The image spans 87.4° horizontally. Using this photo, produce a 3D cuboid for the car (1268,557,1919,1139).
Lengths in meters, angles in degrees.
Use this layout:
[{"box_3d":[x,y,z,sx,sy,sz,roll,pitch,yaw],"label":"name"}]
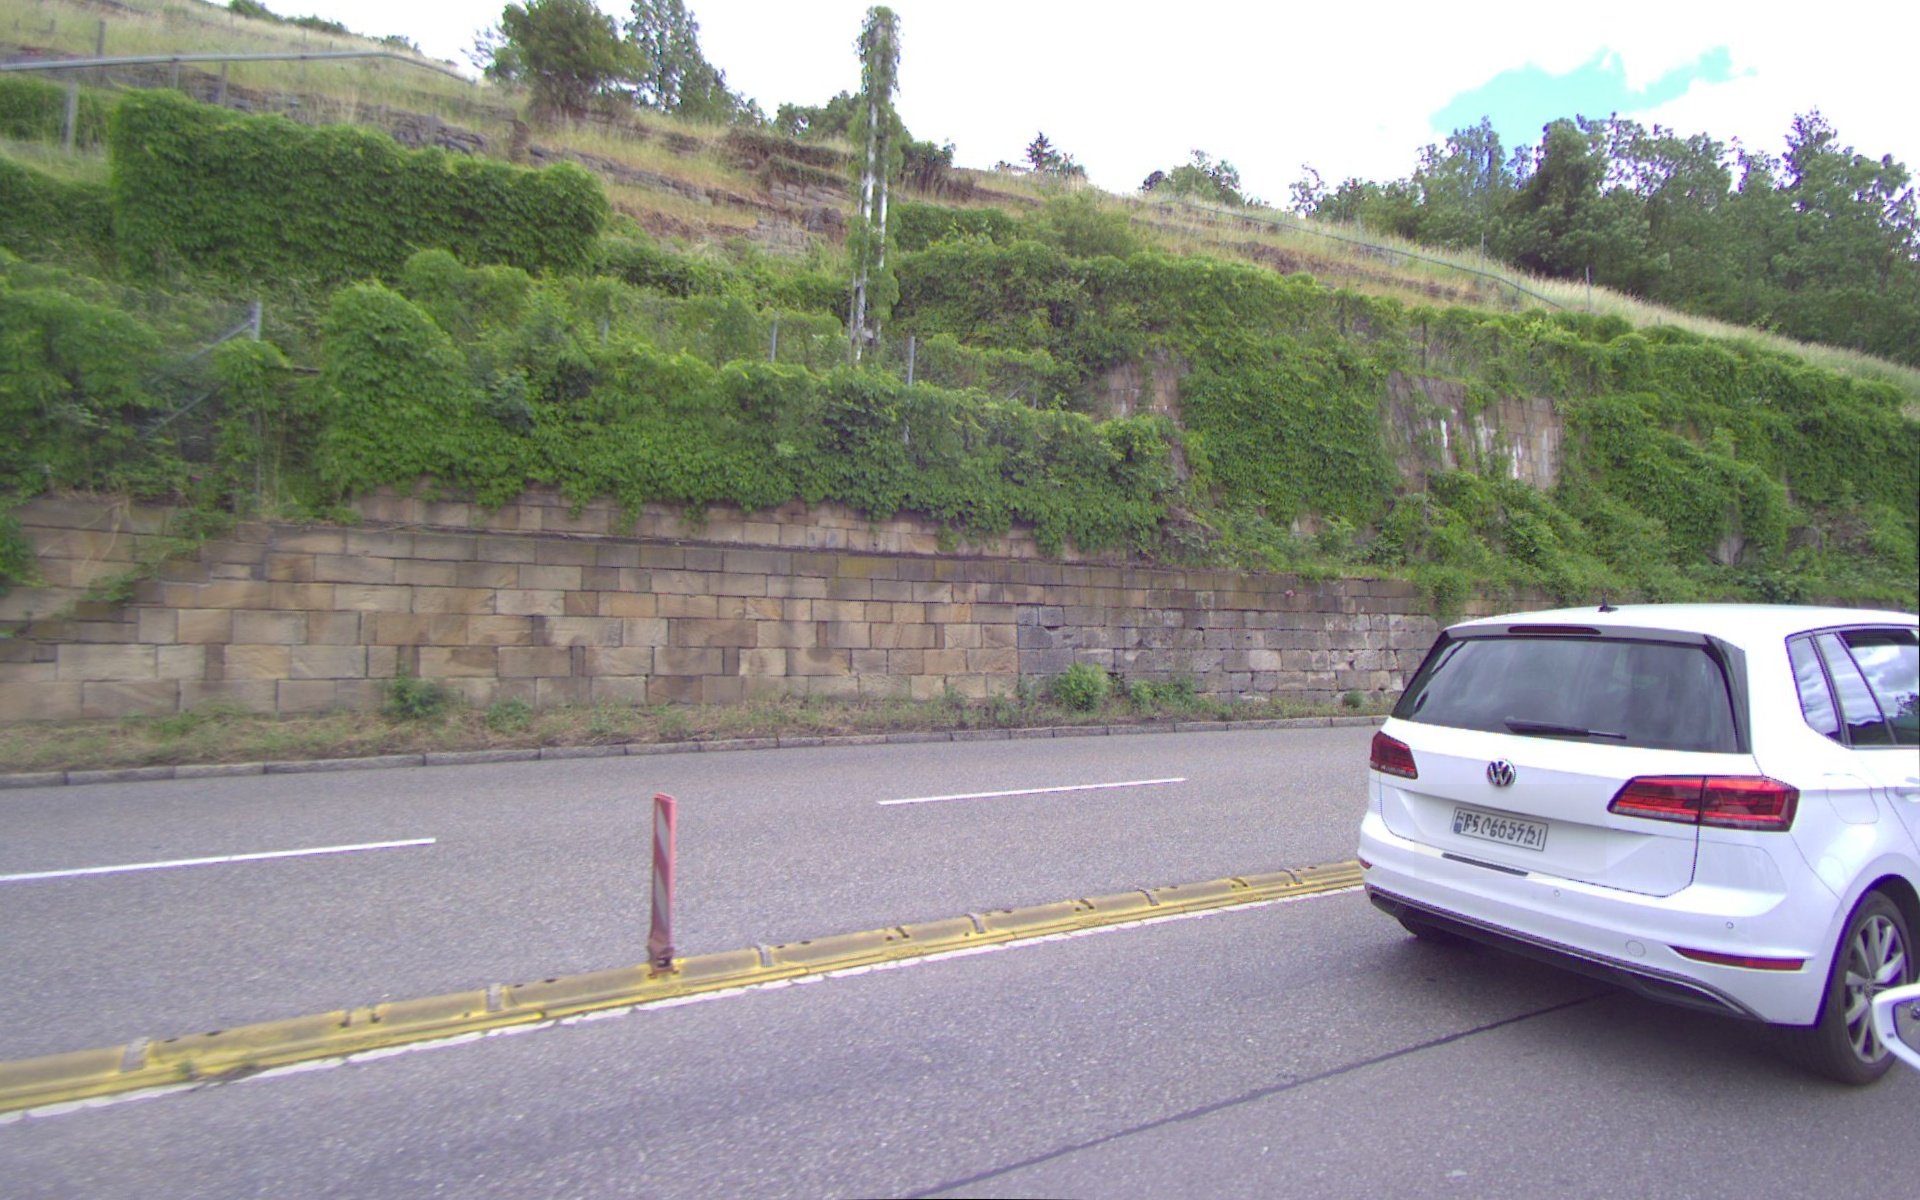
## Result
[{"box_3d":[3.676,0.748,4.587,4.301,1.601,1.814,2,-1,-28],"label":"car"}]
